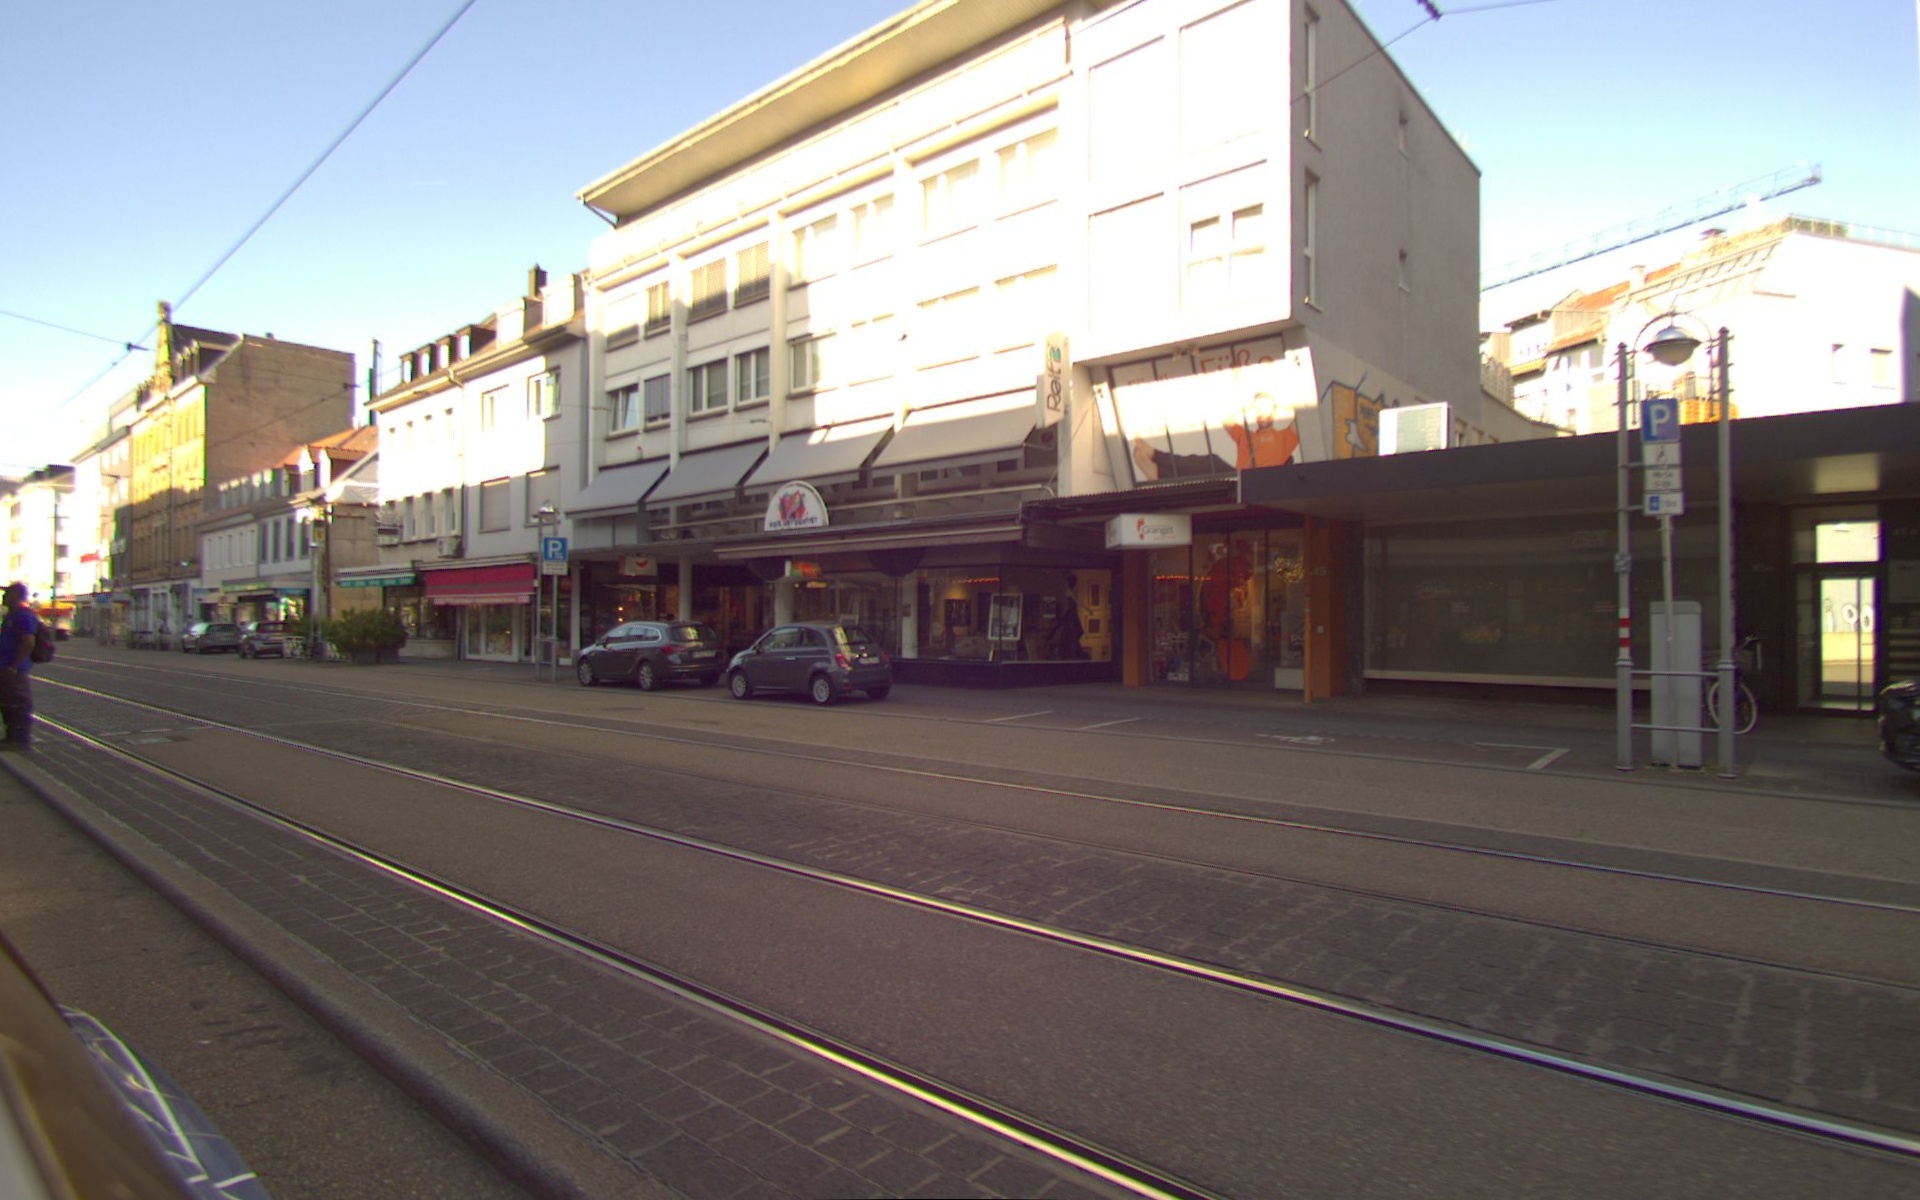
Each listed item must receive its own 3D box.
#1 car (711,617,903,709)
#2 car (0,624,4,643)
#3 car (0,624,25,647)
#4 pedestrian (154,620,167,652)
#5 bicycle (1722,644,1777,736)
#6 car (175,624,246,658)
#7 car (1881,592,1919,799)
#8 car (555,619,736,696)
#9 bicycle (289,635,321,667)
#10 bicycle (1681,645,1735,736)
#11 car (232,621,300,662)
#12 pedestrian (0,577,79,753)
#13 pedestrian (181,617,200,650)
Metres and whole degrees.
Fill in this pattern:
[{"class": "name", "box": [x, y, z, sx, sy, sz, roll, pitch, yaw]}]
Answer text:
[{"class": "car", "box": [-2.960, 1.129, 19.252, 3.585, 1.535, 1.585, -1, 1, 39]}, {"class": "car", "box": [-80.874, 2.761, 84.121, 3.998, 1.542, 1.645, -1, -3, 41]}, {"class": "car", "box": [-68.796, 2.527, 72.858, 3.674, 1.647, 1.779, -1, -2, 41]}, {"class": "pedestrian", "box": [-46.398, 2.086, 58.730, 0.572, 1.819, 0.660, -1, 0, -37]}, {"class": "bicycle", "box": [10.214, 1.123, 13.077, 0.423, 1.006, 1.916, -1, 1, 42]}, {"class": "car", "box": [-35.960, 1.917, 48.495, 4.760, 1.525, 1.798, -1, -1, 41]}, {"class": "car", "box": [10.256, 0.768, 7.761, 4.653, 1.691, 1.958, -1, 1, 42]}, {"class": "car", "box": [-7.329, 1.232, 23.319, 4.850, 1.535, 1.719, -1, 1, 42]}, {"class": "bicycle", "box": [-23.923, 1.855, 36.968, 1.715, 1.098, 0.513, -1, 0, 42]}, {"class": "bicycle", "box": [9.825, 1.143, 13.278, 0.380, 1.006, 1.916, -1, 1, 42]}, {"class": "car", "box": [-28.995, 1.700, 42.252, 2.890, 1.616, 1.679, -1, 0, 41]}, {"class": "pedestrian", "box": [-10.248, 0.693, 11.038, 0.746, 1.851, 0.796, -1, -3, 40]}, {"class": "pedestrian", "box": [-42.228, 1.826, 55.562, 0.580, 1.775, 0.651, -1, 0, 33]}]
